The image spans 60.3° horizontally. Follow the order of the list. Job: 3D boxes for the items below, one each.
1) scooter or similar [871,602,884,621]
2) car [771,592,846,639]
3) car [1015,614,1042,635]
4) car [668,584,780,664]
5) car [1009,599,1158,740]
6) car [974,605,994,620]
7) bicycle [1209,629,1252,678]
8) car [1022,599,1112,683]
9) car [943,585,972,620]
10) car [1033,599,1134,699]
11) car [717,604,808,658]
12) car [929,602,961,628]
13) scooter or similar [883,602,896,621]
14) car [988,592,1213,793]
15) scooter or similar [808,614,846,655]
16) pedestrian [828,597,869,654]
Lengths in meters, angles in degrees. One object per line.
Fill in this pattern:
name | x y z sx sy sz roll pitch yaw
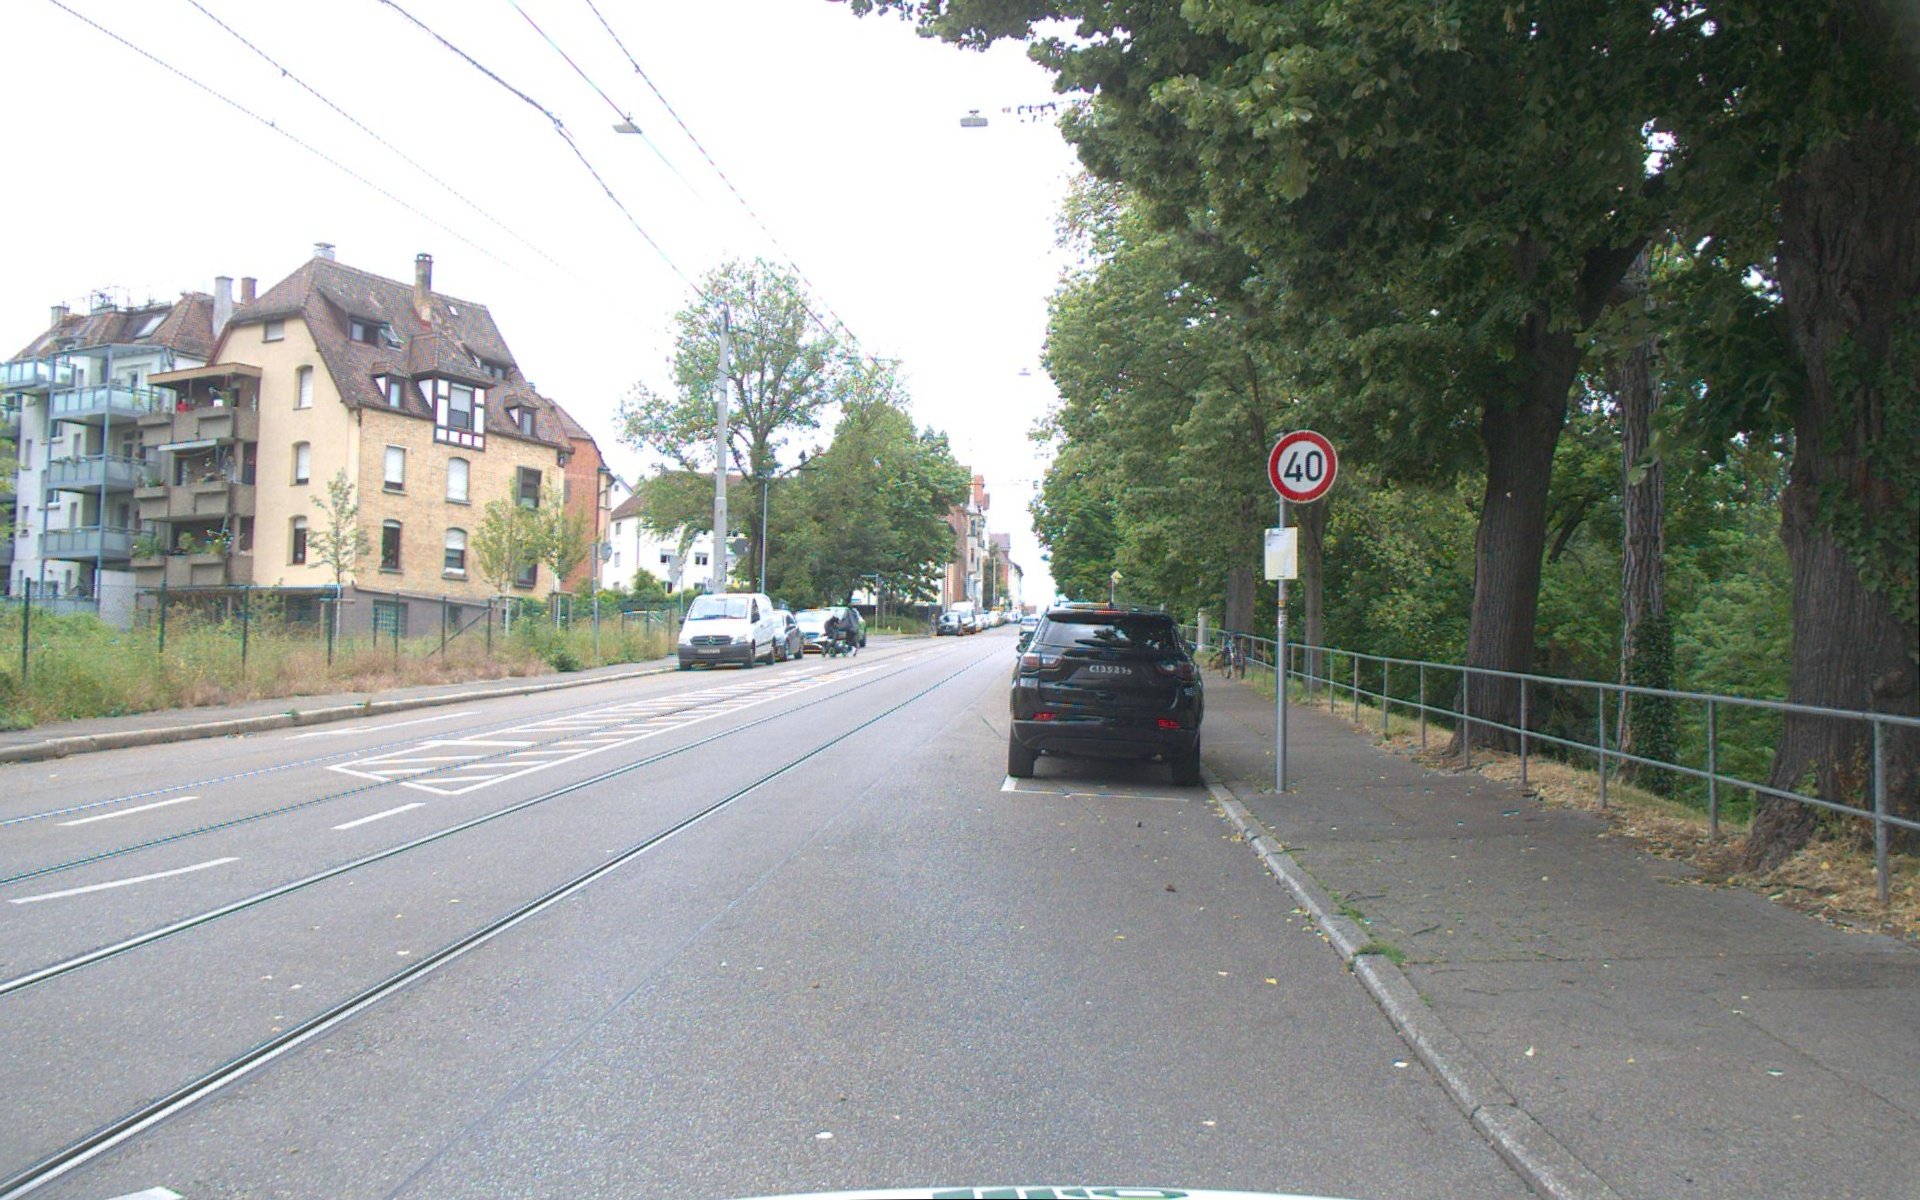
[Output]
scooter or similar | -5.876 0.834 118.388 0.676 1.362 1.640 2 -1 5
car | -5.159 0.514 56.841 1.845 1.553 4.665 0 0 4
car | 5.266 1.852 127.113 1.952 1.525 4.314 2 -1 3
car | -6.026 0.618 42.799 1.993 1.914 4.886 -1 -1 2
car | 1.581 0.822 21.662 1.697 1.603 4.366 2 0 3
car | 2.608 1.377 181.232 1.884 1.629 4.002 2 -1 4
bicycle | 5.793 1.135 35.497 0.419 0.993 1.792 2 -1 -6
car | 2.473 0.877 38.120 1.838 1.707 5.065 3 0 4
car | -0.194 0.234 137.484 2.184 2.812 5.800 2 -1 2
car | 2.333 0.884 32.087 1.691 1.659 4.089 5 0 2
car | -5.686 0.862 48.128 1.856 1.458 4.513 0 0 3
car | -1.074 1.135 122.832 1.951 1.840 4.002 2 -1 5
scooter or similar | -5.021 0.824 118.294 0.676 1.362 1.640 2 -1 5
car | 1.403 0.796 16.577 1.864 1.643 4.602 3 0 5
scooter or similar | -4.043 1.052 50.249 0.801 1.217 0.825 3 -1 -44
pedestrian | -3.358 0.767 49.744 0.801 1.657 0.901 3 -1 -44
